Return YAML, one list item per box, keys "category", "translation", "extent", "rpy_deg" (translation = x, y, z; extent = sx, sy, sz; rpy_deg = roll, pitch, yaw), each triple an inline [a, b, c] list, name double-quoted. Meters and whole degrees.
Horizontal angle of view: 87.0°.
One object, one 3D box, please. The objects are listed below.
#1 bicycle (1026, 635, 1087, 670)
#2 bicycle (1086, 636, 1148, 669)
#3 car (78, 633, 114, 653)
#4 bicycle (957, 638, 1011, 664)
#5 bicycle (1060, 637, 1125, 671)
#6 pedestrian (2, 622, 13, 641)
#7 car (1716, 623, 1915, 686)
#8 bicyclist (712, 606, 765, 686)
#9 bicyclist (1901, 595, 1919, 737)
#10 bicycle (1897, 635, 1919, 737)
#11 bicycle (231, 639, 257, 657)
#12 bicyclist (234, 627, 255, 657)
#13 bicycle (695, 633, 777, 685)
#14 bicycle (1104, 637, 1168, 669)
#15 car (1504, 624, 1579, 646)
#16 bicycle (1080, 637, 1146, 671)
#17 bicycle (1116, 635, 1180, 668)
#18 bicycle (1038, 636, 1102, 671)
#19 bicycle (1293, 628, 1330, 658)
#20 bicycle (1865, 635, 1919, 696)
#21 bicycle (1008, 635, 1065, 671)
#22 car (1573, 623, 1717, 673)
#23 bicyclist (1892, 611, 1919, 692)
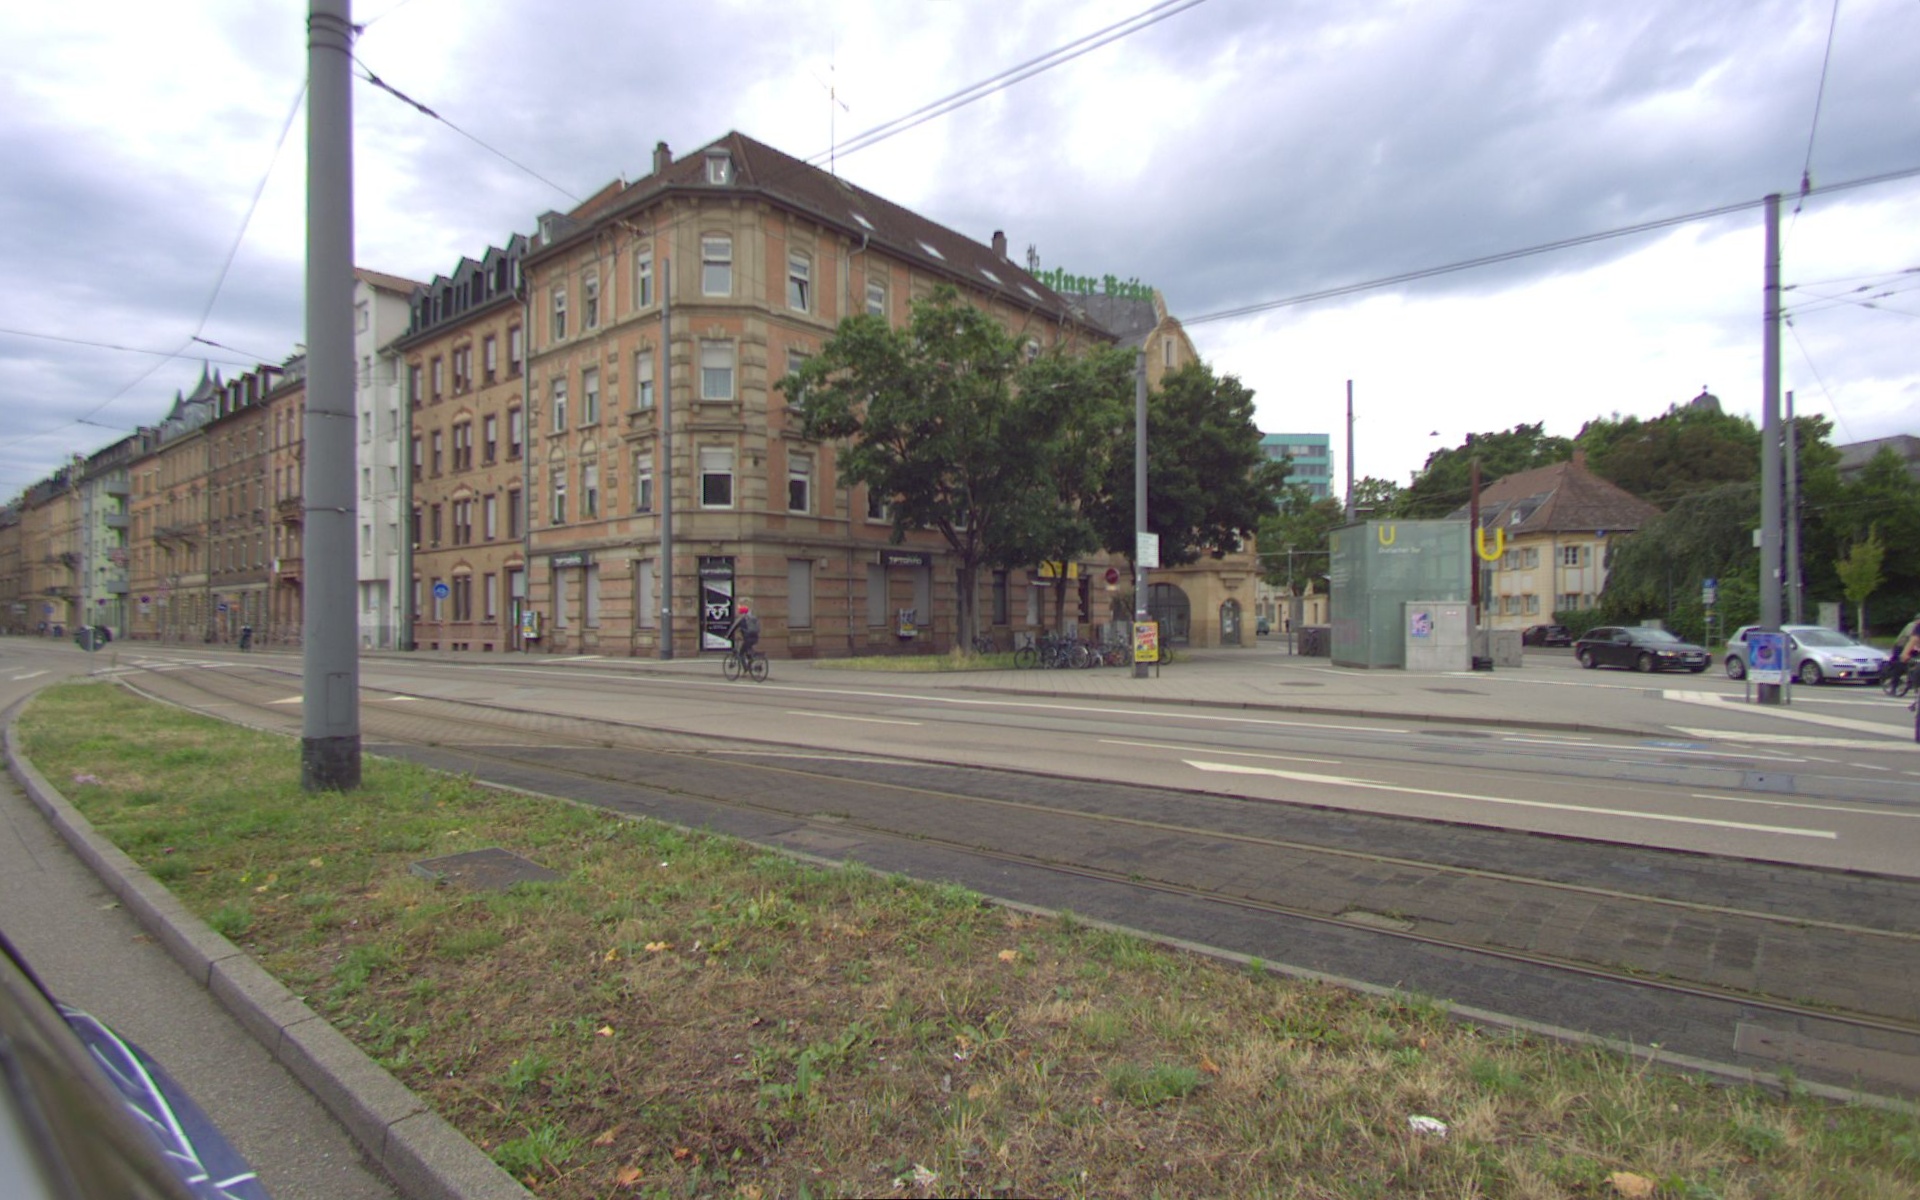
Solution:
- category: "bicycle"
  translation: [2.852, 1.556, 30.195]
  extent: [0.513, 0.994, 2.041]
  rpy_deg: [0, -1, -39]
- category: "bicycle"
  translation: [5.022, 1.681, 32.509]
  extent: [0.492, 0.994, 2.224]
  rpy_deg: [0, -1, -39]
- category: "car"
  translation: [-68.801, 3.398, 80.566]
  extent: [3.828, 1.491, 1.828]
  rpy_deg: [-2, -2, 43]
- category: "bicycle"
  translation: [0.882, 1.926, 38.004]
  extent: [1.984, 0.921, 0.655]
  rpy_deg: [-4, -4, 35]
- category: "bicycle"
  translation: [4.021, 1.630, 30.853]
  extent: [0.492, 0.994, 2.224]
  rpy_deg: [0, -1, -39]
- category: "pedestrian"
  translation: [-104.823, 3.451, 111.330]
  extent: [0.733, 2.029, 0.804]
  rpy_deg: [-2, -2, 41]
- category: "car"
  translation: [21.886, 1.351, 26.149]
  extent: [1.739, 1.465, 4.156]
  rpy_deg: [-1, -1, 4]
- category: "bicyclist"
  translation: [-5.478, 1.132, 25.008]
  extent: [1.048, 1.906, 0.820]
  rpy_deg: [-2, -3, 40]
- category: "bicyclist"
  translation: [12.769, 0.832, 13.065]
  extent: [0.816, 1.812, 1.015]
  rpy_deg: [-4, -3, 43]
- category: "bicycle"
  translation: [12.632, 1.081, 13.009]
  extent: [0.816, 1.252, 1.971]
  rpy_deg: [-3, -4, 43]
- category: "bicycle"
  translation: [-36.842, 2.465, 52.046]
  extent: [1.716, 0.922, 0.600]
  rpy_deg: [-1, -1, 37]
- category: "bicyclist"
  translation: [-36.802, 2.144, 52.040]
  extent: [0.941, 1.506, 0.655]
  rpy_deg: [-1, -1, 37]
- category: "bicycle"
  translation: [-5.554, 1.440, 25.057]
  extent: [2.233, 1.217, 0.815]
  rpy_deg: [-2, -3, 41]
- category: "bicycle"
  translation: [5.746, 1.720, 33.172]
  extent: [0.576, 0.994, 2.224]
  rpy_deg: [0, -1, -39]
- category: "car"
  translation: [35.598, 2.106, 62.104]
  extent: [1.904, 1.298, 4.006]
  rpy_deg: [0, -1, -7]
- category: "bicycle"
  translation: [4.789, 1.682, 31.850]
  extent: [0.601, 0.994, 2.224]
  rpy_deg: [0, -1, -39]
- category: "bicycle"
  translation: [6.346, 1.719, 34.297]
  extent: [0.678, 1.047, 2.224]
  rpy_deg: [0, -1, -39]
- category: "bicycle"
  translation: [3.304, 1.597, 30.520]
  extent: [0.472, 1.014, 2.224]
  rpy_deg: [0, -1, -39]
- category: "bicycle"
  translation: [13.920, 1.683, 40.140]
  extent: [0.730, 1.123, 2.361]
  rpy_deg: [-1, -1, 3]
- category: "bicycle"
  translation: [19.948, 1.349, 20.728]
  extent: [0.845, 1.217, 2.197]
  rpy_deg: [0, -1, 1]
- category: "bicycle"
  translation: [2.236, 1.539, 29.767]
  extent: [0.492, 0.994, 1.872]
  rpy_deg: [1, -2, -41]
- category: "car"
  translation: [21.785, 1.488, 32.395]
  extent: [1.673, 1.460, 4.144]
  rpy_deg: [-1, -1, -1]
- category: "bicyclist"
  translation: [19.953, 1.051, 20.729]
  extent: [0.843, 1.635, 0.917]
  rpy_deg: [0, -2, 1]
